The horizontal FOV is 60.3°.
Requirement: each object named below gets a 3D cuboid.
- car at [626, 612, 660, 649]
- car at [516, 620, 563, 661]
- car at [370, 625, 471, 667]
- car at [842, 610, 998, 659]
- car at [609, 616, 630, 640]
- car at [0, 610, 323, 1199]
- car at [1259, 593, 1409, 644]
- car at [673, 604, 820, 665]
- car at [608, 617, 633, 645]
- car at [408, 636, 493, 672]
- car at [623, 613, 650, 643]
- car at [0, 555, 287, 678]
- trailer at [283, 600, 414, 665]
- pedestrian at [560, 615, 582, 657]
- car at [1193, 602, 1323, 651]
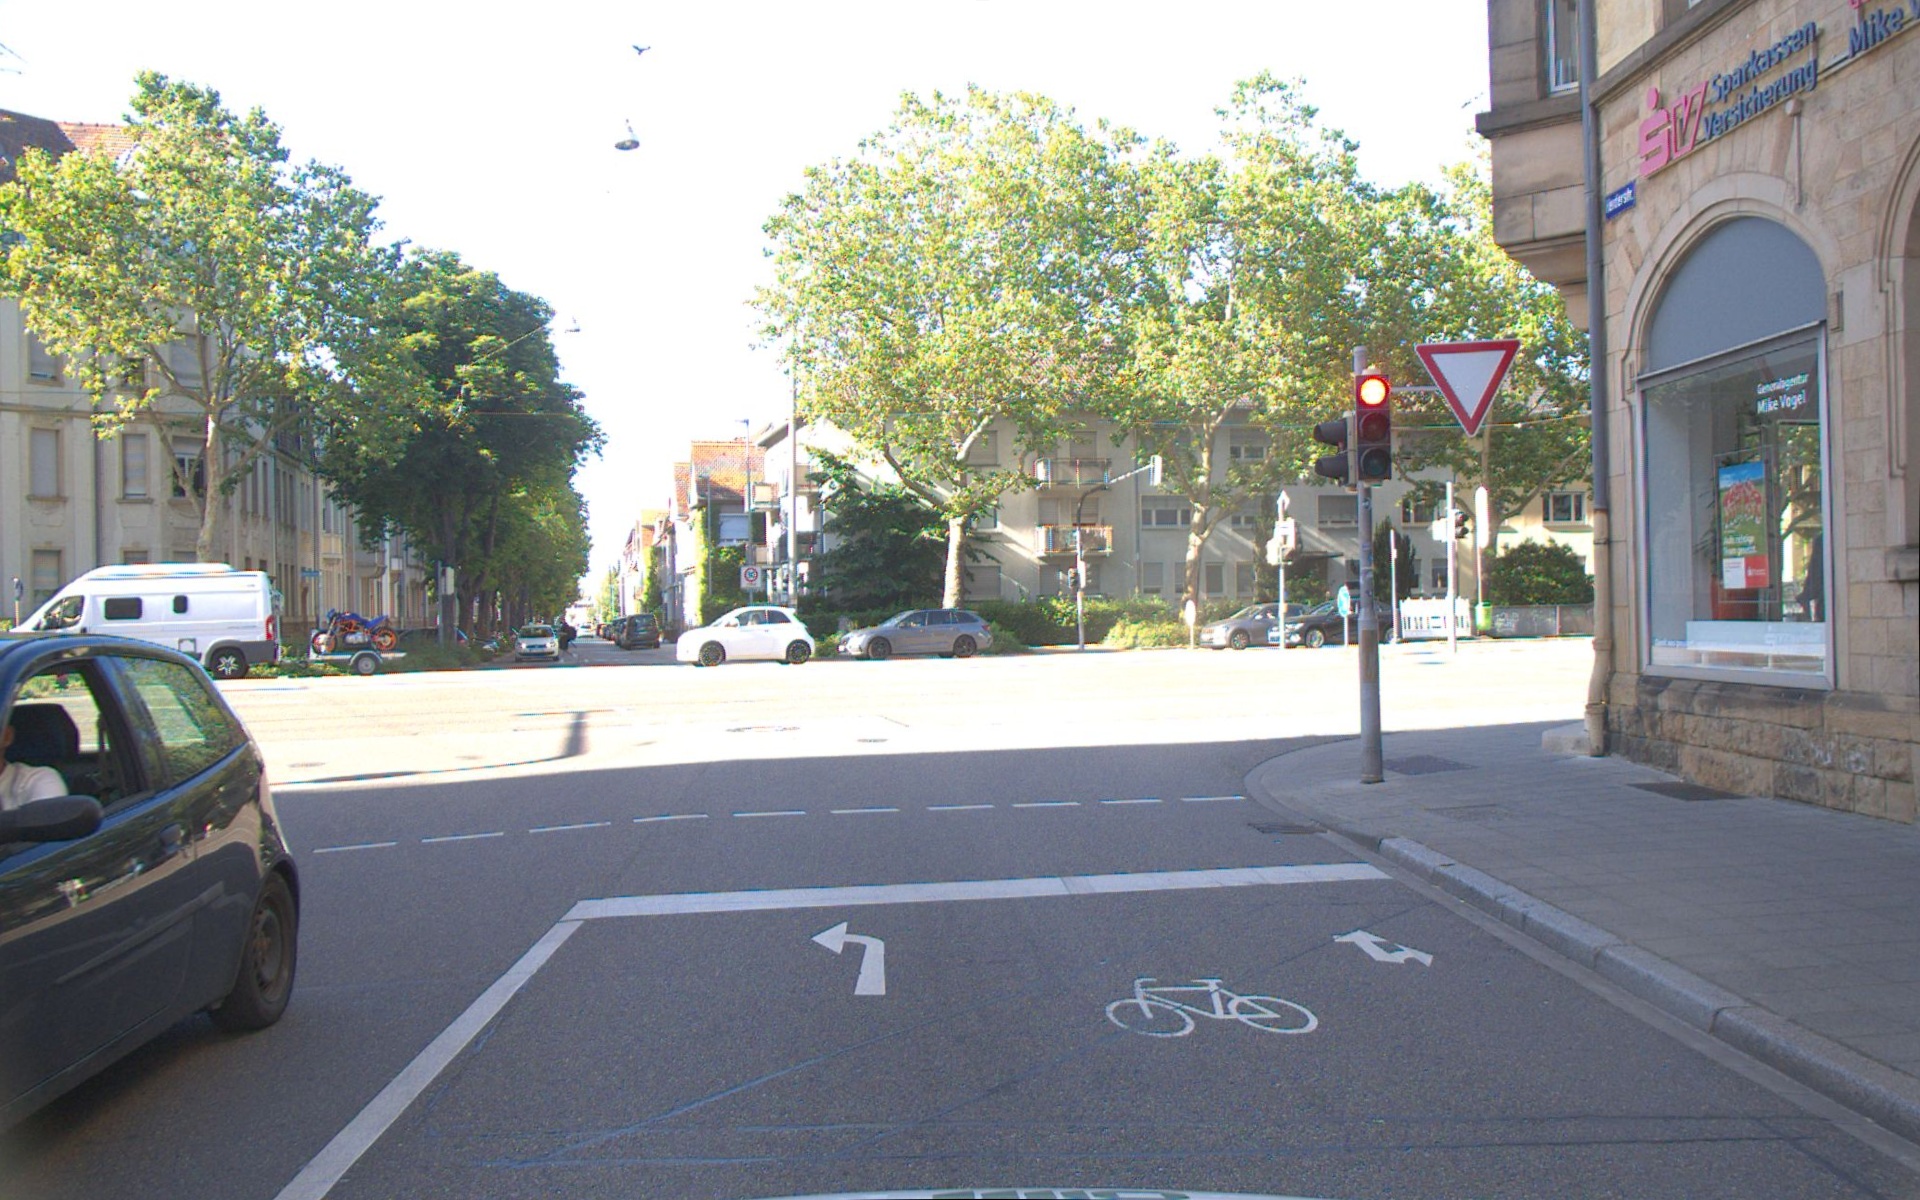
[{"bbox_3d":[-18.104,1.720,94.303,1.742,1.952,3.523,-3,0,-12],"label":"car"},{"bbox_3d":[-17.292,1.641,68.095,1.669,1.509,3.523,-3,1,-12],"label":"car"},{"bbox_3d":[-20.445,1.736,62.802,3.572,1.483,1.650,-1,0,-16],"label":"car"},{"bbox_3d":[-1.178,0.990,48.765,4.323,1.339,1.636,-1,0,-21],"label":"car"},{"bbox_3d":[-30.046,2.451,145.931,1.742,1.952,3.523,-3,0,-12],"label":"car"},{"bbox_3d":[-3.068,0.791,4.485,1.620,1.483,3.638,-1,0,-7],"label":"car"},{"bbox_3d":[11.140,0.533,49.268,4.207,1.425,1.635,-1,0,-22],"label":"car"},{"bbox_3d":[-5.606,0.884,43.404,3.579,1.483,1.494,-1,0,-21],"label":"car"},{"bbox_3d":[-26.233,2.383,127.705,1.742,1.952,3.523,-3,0,-12],"label":"car"},{"bbox_3d":[-22.706,2.385,73.822,3.572,1.483,1.650,-1,0,-16],"label":"car"},{"bbox_3d":[-22.488,1.928,114.877,1.742,1.952,3.523,-3,0,-12],"label":"car"},{"bbox_3d":[-18.953,0.341,38.432,6.017,2.683,1.885,-1,0,-20],"label":"car"},{"bbox_3d":[-14.776,0.770,40.090,2.904,1.483,1.505,-1,0,-20],"label":"trailer"},{"bbox_3d":[-13.747,1.284,58.398,0.692,1.467,0.487,1,-1,-18],"label":"pedestrian"},{"bbox_3d":[9.393,0.819,52.156,3.728,1.425,1.635,-1,0,-22],"label":"car"}]
